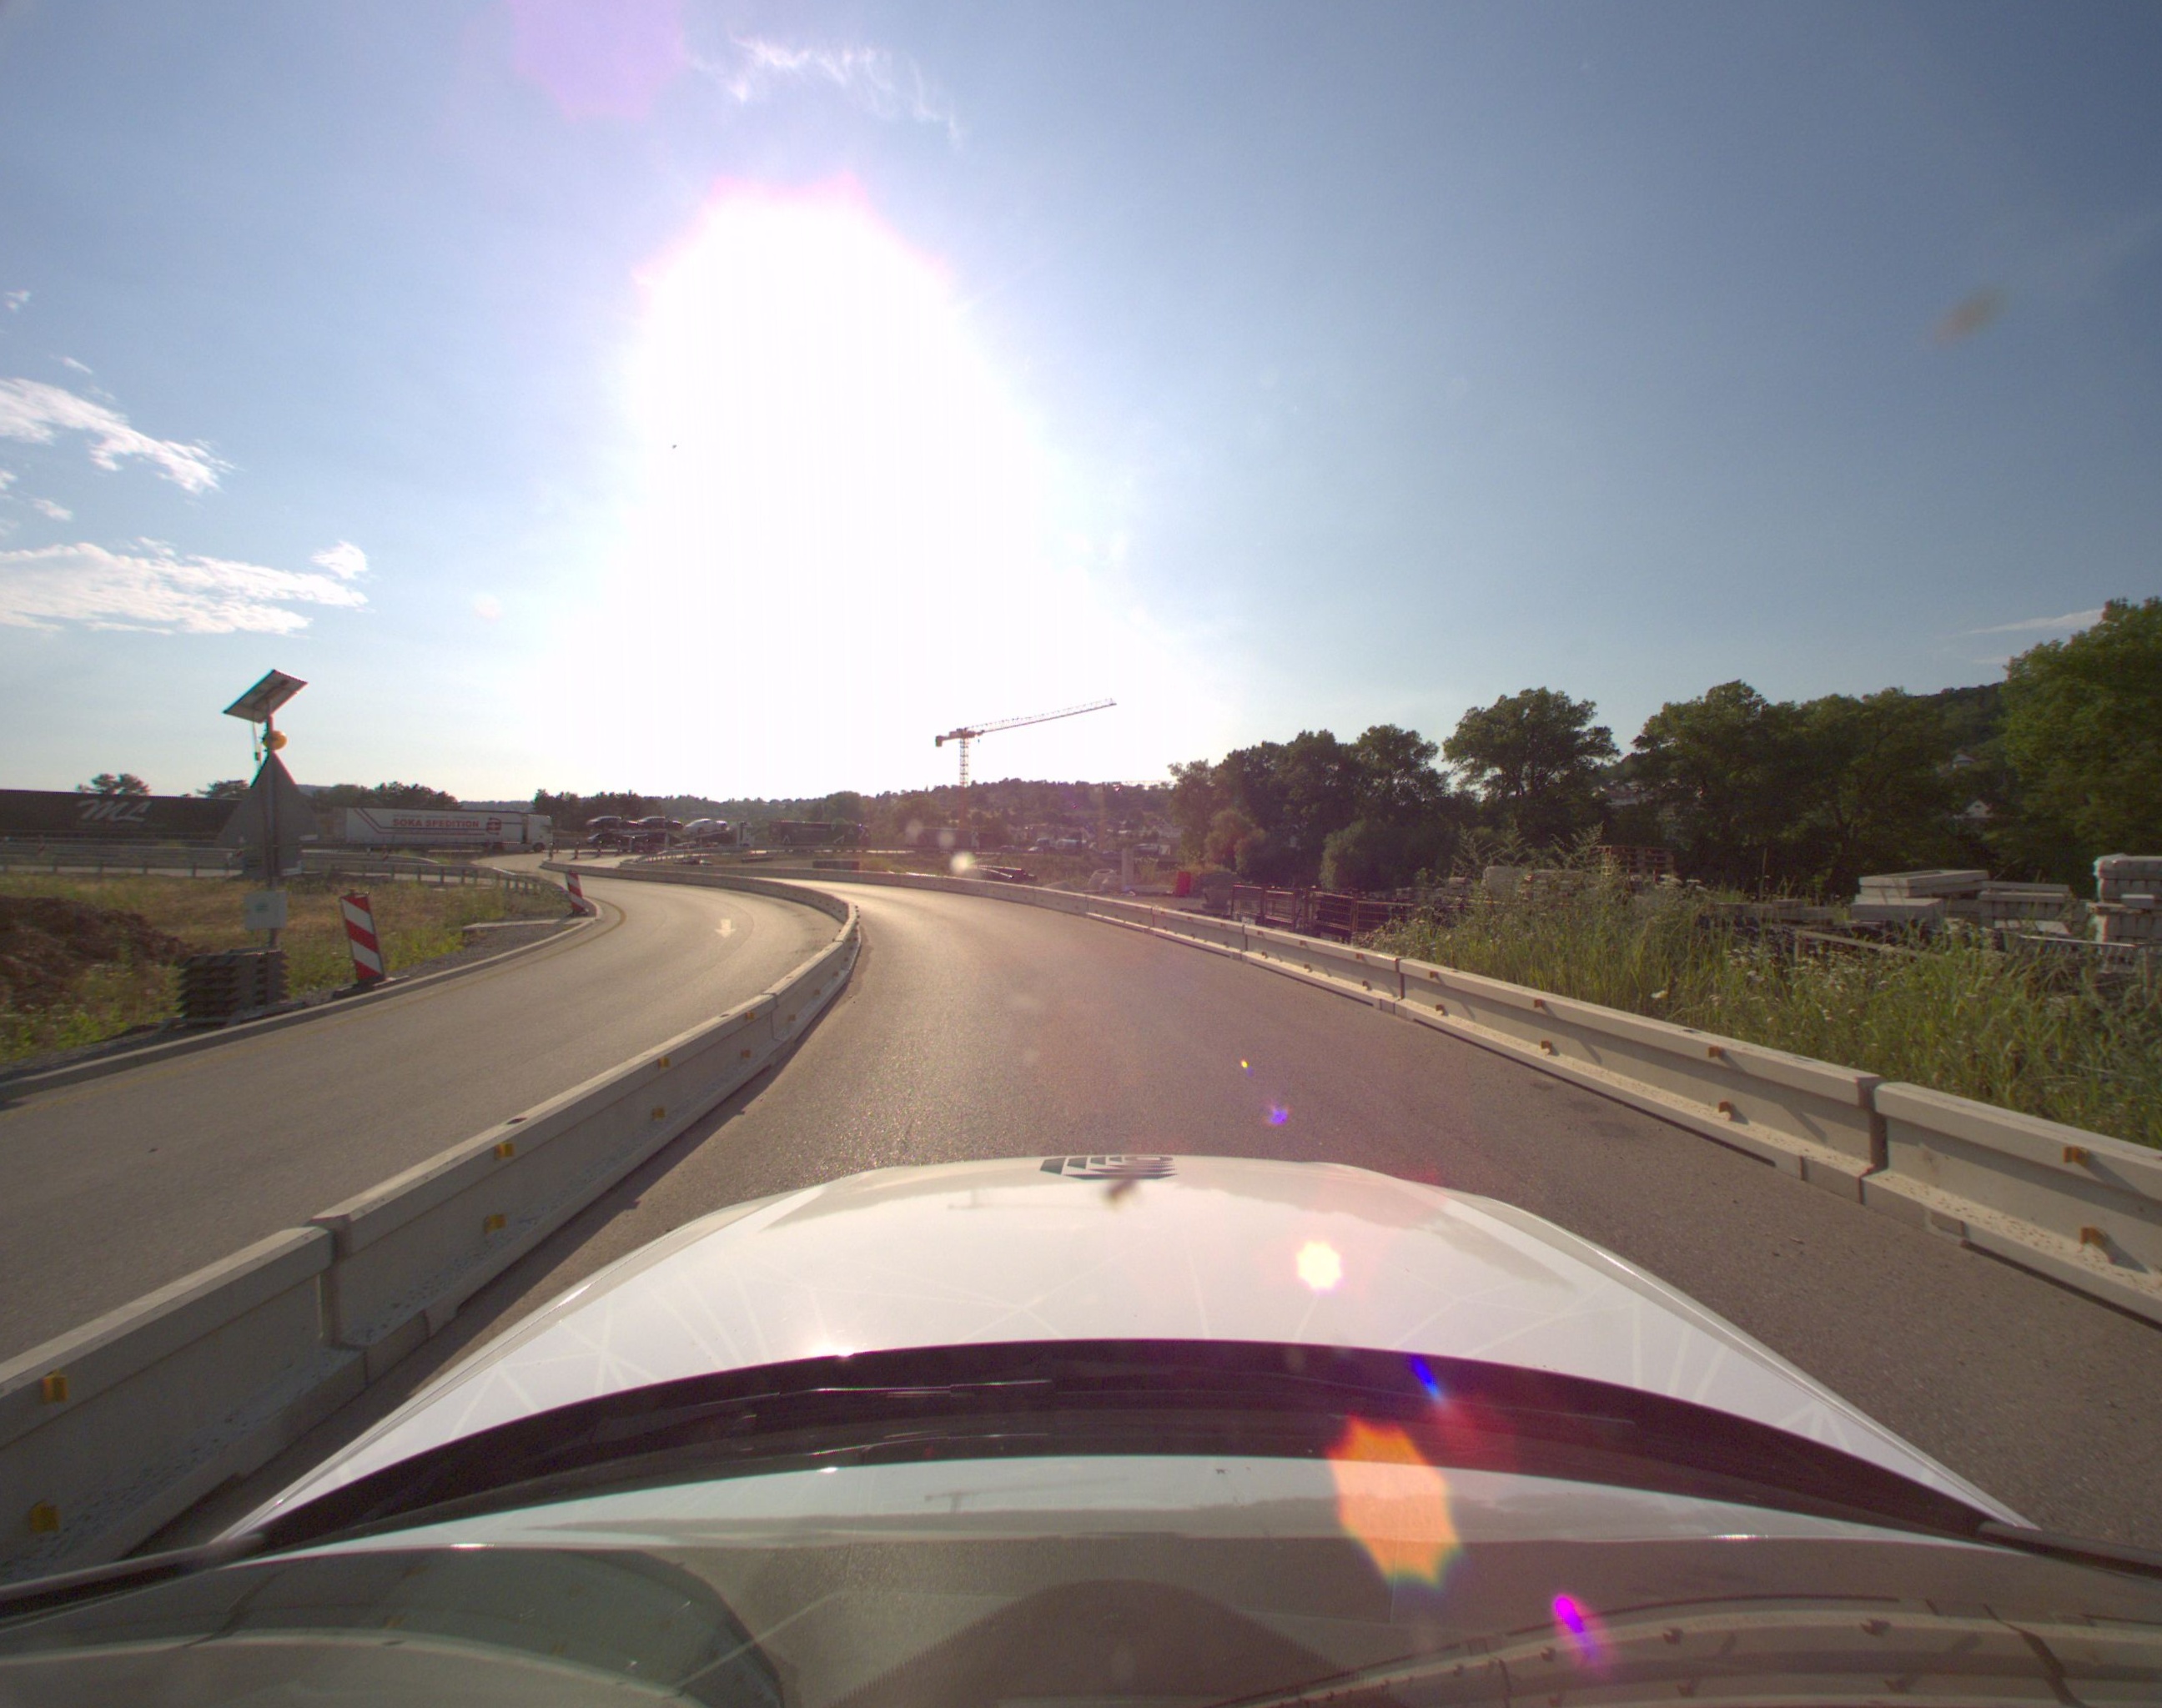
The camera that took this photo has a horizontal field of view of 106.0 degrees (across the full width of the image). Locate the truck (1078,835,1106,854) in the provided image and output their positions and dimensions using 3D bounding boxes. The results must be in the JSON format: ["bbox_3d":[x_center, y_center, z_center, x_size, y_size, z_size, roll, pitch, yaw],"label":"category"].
[{"bbox_3d":[2.430,-2.115,183.073,3.358,3.996,6.665,1,0,30],"label":"truck"}]

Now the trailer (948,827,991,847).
[{"bbox_3d":[-21.645,-3.256,159.338,2.978,3.752,9.629,0,0,31],"label":"trailer"}]

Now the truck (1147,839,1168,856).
[{"bbox_3d":[20.055,-1.721,213.401,3.069,4.285,6.665,1,0,30],"label":"truck"}]

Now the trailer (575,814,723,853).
[{"bbox_3d":[-49.223,-2.227,93.816,2.830,3.996,15.843,1,0,30],"label":"trailer"}]

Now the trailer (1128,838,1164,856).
[{"bbox_3d":[16.716,-1.745,207.572,3.074,4.314,14.339,1,0,30],"label":"trailer"}]

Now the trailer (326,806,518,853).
[{"bbox_3d":[-60.031,-2.094,74.999,2.457,3.878,13.714,2,0,30],"label":"trailer"}]

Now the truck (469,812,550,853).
[{"bbox_3d":[-56.666,-2.048,80.898,2.457,3.878,6.048,2,0,29],"label":"truck"}]

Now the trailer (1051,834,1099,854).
[{"bbox_3d":[-1.060,-2.129,176.984,3.353,3.996,14.836,1,0,30],"label":"trailer"}]

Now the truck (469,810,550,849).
[{"bbox_3d":[-63.130,-2.665,90.075,2.821,3.996,6.665,1,0,30],"label":"truck"}]

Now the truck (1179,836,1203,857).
[{"bbox_3d":[32.064,-2.202,237.320,3.134,5.870,10.741,0,-1,31],"label":"truck"}]

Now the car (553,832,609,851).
[{"bbox_3d":[-56.849,-1.429,92.601,2.009,1.980,5.010,3,2,31],"label":"car"}]

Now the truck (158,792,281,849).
[{"bbox_3d":[-66.548,-2.505,63.051,2.457,4.060,6.048,2,0,30],"label":"truck"}]

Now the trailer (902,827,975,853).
[{"bbox_3d":[-23.792,-2.232,137.420,3.353,3.996,14.836,1,0,30],"label":"trailer"}]

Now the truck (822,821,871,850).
[{"bbox_3d":[-34.311,-2.634,119.451,2.857,3.996,6.665,1,0,31],"label":"truck"}]

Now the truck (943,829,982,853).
[{"bbox_3d":[-20.759,-2.212,142.724,3.311,3.996,6.665,1,0,30],"label":"truck"}]

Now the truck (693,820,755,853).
[{"bbox_3d":[-44.612,-2.151,101.855,2.821,3.996,6.665,1,0,30],"label":"truck"}]

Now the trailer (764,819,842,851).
[{"bbox_3d":[-38.341,-2.585,112.792,2.930,4.092,10.860,0,0,31],"label":"trailer"}]

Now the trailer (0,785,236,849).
[{"bbox_3d":[-69.718,-2.487,57.523,2.457,4.061,13.714,2,0,29],"label":"trailer"}]
